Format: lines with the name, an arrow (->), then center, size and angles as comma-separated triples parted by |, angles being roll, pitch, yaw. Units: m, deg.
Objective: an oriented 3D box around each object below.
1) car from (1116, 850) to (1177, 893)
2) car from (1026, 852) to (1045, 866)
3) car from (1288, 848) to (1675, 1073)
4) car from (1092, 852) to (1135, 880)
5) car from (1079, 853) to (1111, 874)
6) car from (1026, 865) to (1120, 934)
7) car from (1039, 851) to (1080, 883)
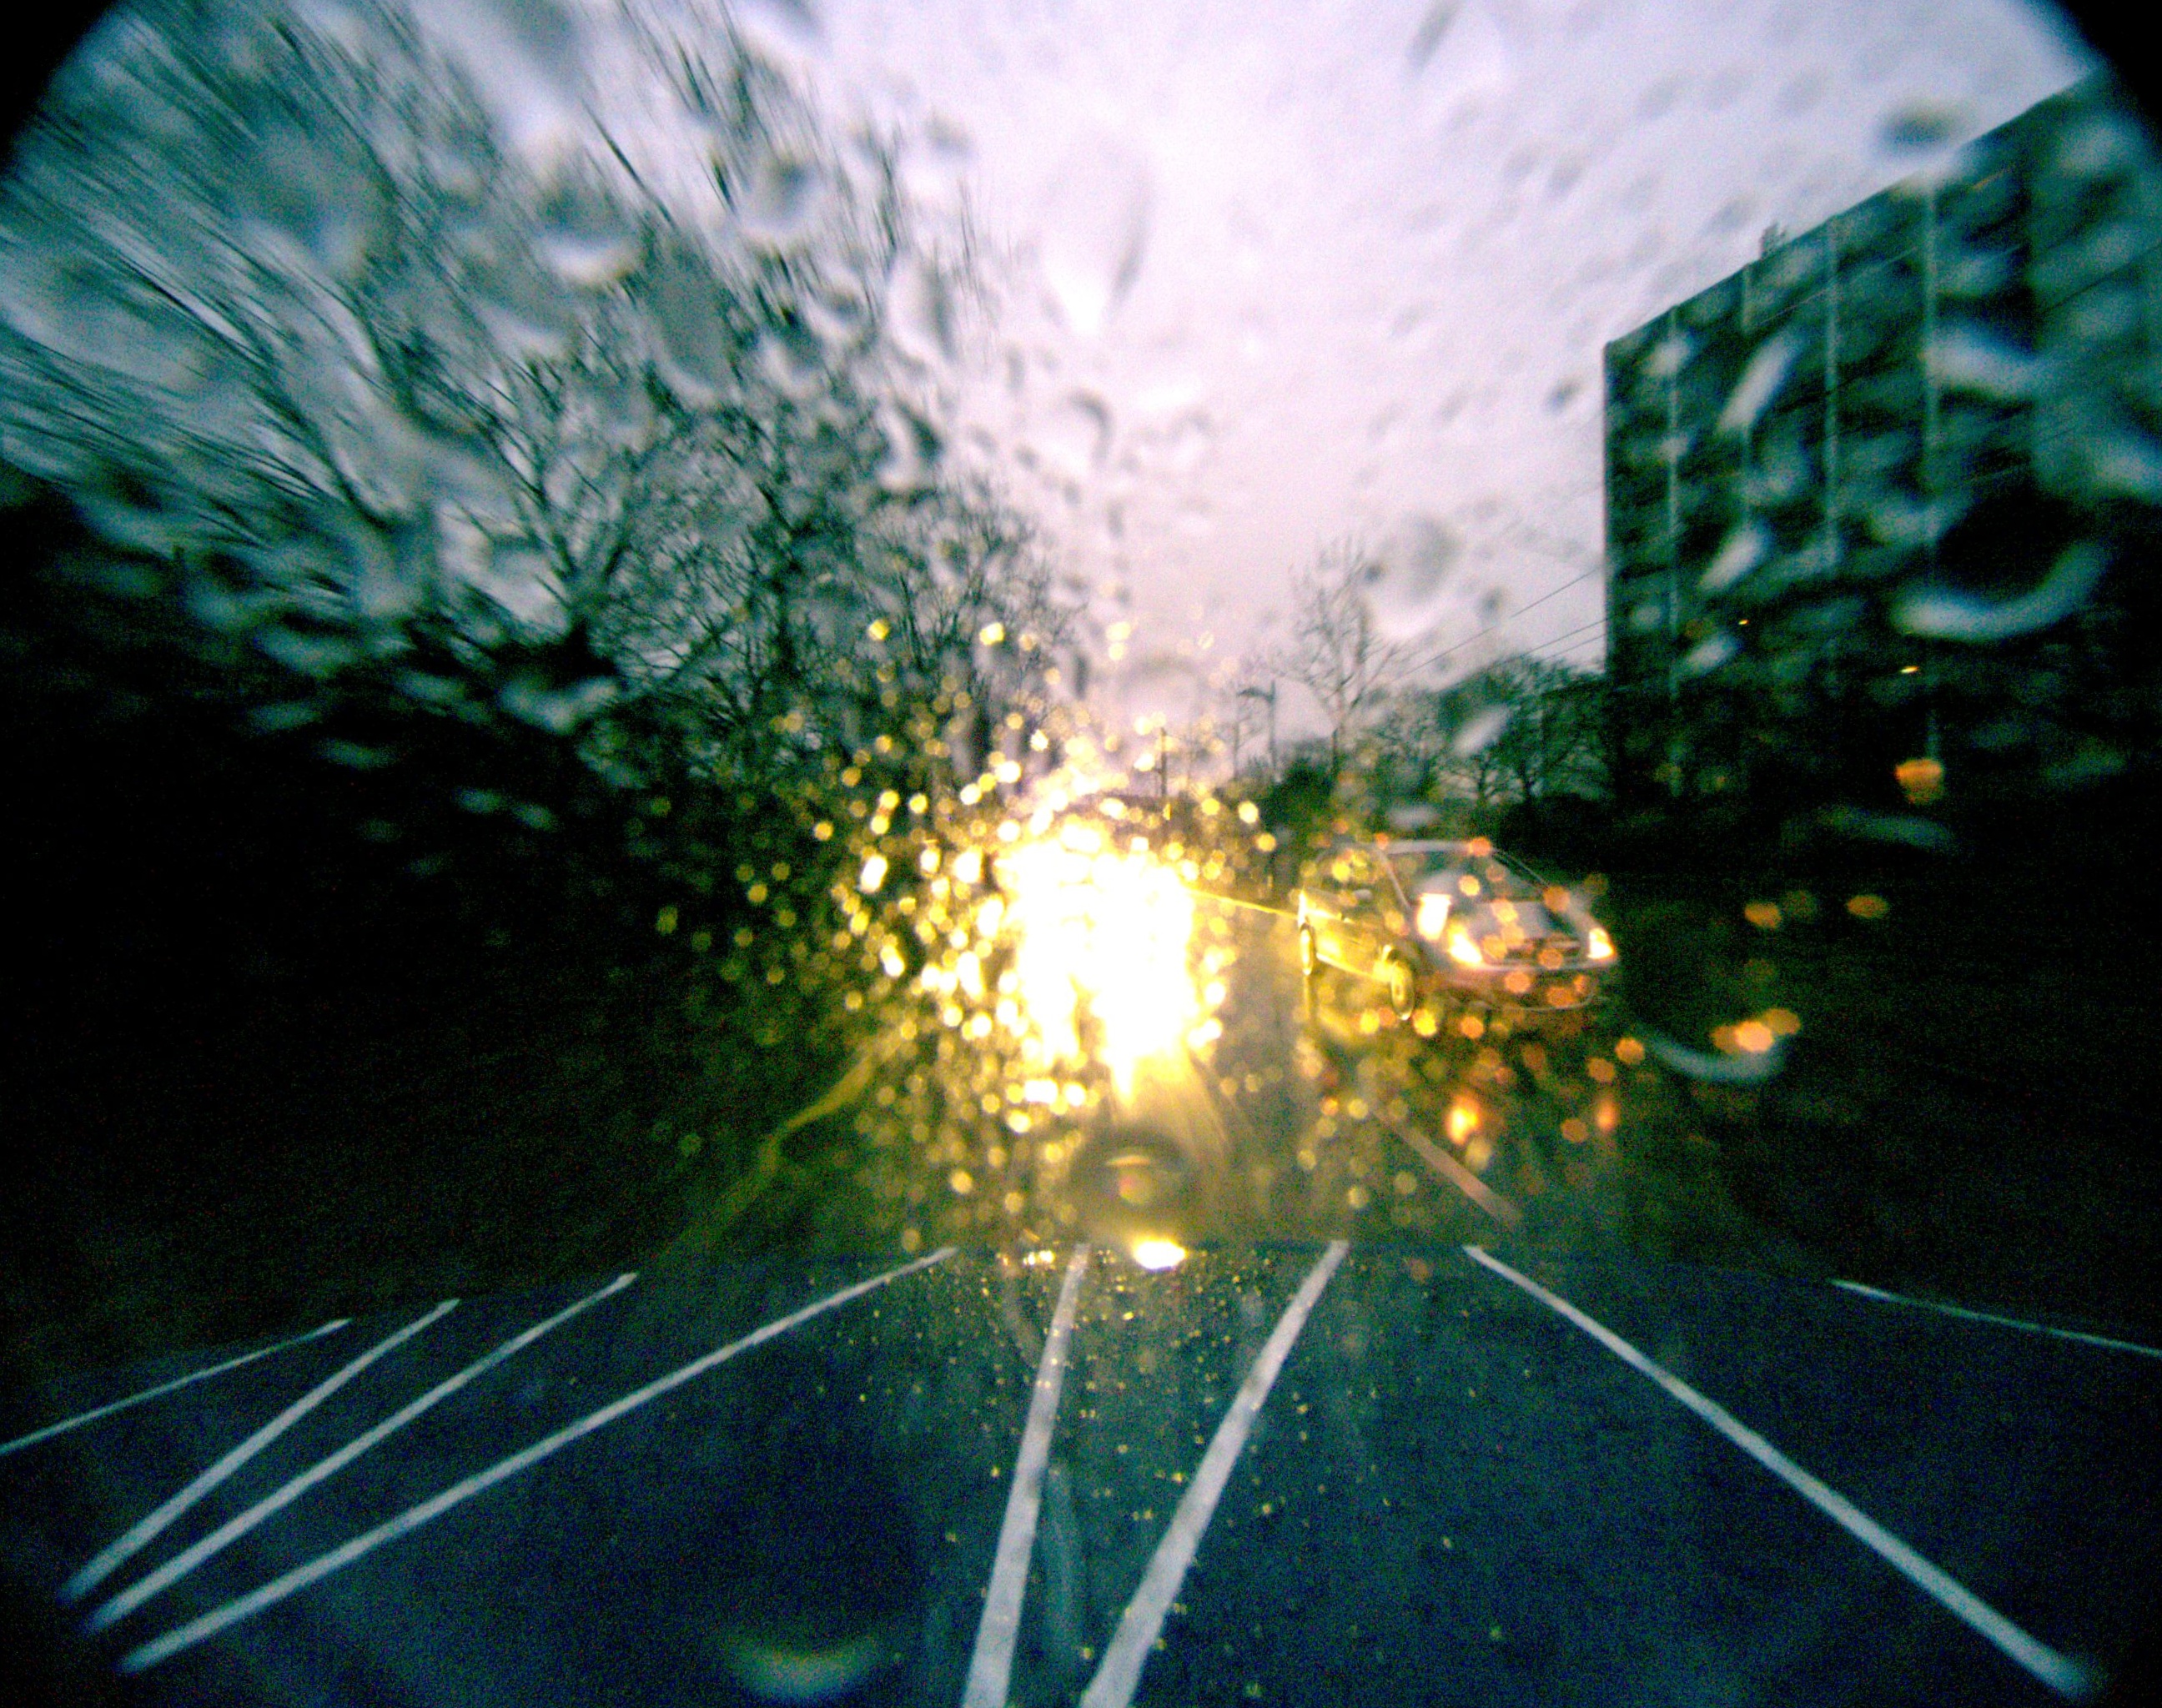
car -> 2.634, 0.672, 31.343 | 1.924, 1.546, 4.216 | -3, 0, -2
car -> -5.439, 0.634, 90.376 | 1.950, 1.546, 4.214 | -3, 0, -6
car -> 3.451, 0.769, 7.481 | 1.669, 1.566, 3.922 | -3, 0, -1
car -> 1.896, 0.700, 45.585 | 1.845, 1.546, 4.214 | -3, 0, -6
car -> 1.110, 0.771, 61.771 | 1.950, 1.546, 4.214 | -3, 0, -8
car -> -0.256, 0.961, 17.728 | 1.897, 1.347, 4.288 | -1, 0, -2
car -> -1.203, 0.684, 41.275 | 1.950, 1.546, 4.215 | -3, 0, -4
